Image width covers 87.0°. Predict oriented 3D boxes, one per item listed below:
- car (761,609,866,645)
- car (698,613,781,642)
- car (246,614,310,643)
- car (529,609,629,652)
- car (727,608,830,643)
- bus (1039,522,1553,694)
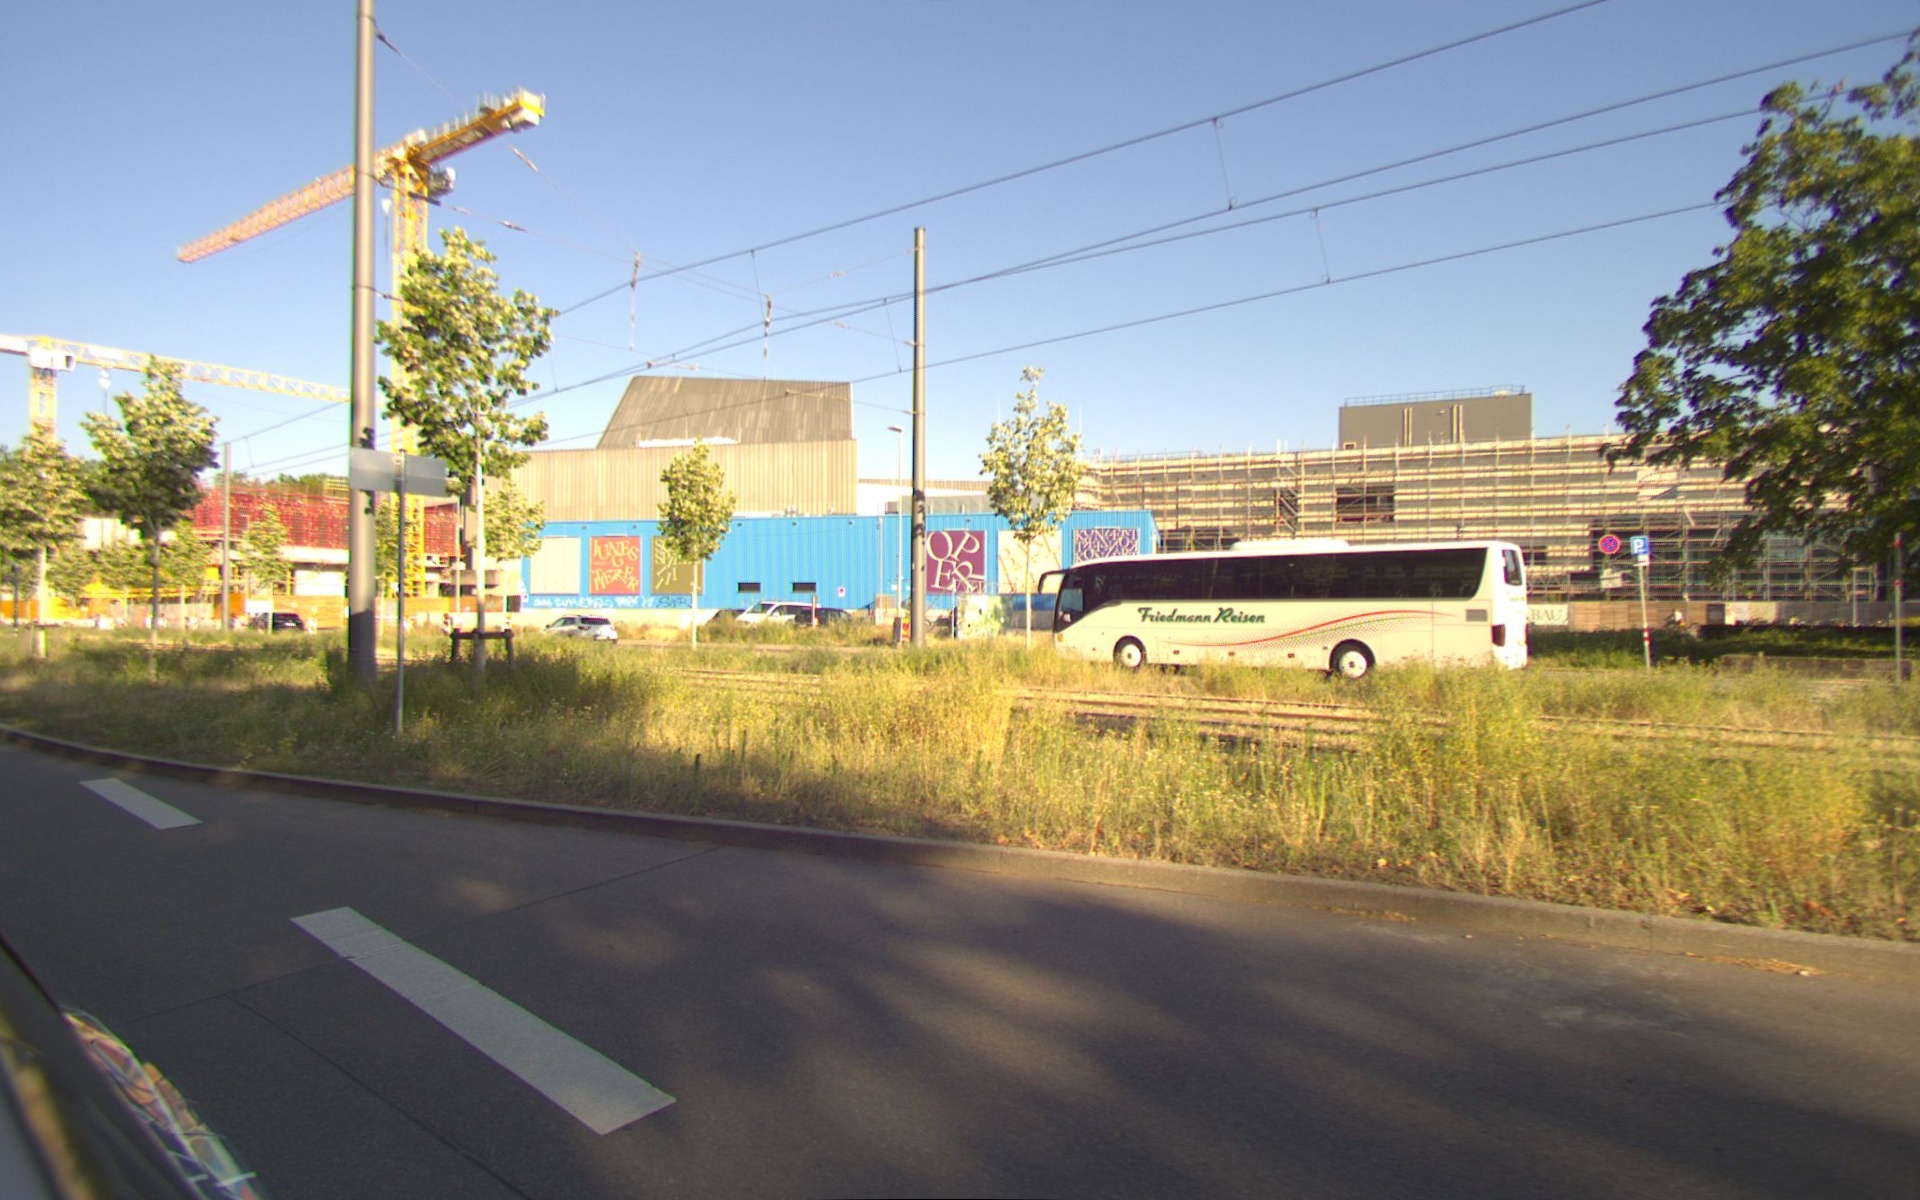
[{"bbox_3d":[-7.234,1.326,50.490,2.122,1.730,5.176,-1,-1,38],"label":"car"},{"bbox_3d":[-11.653,1.450,53.730,1.998,1.496,3.948,-1,-1,38],"label":"car"},{"bbox_3d":[-40.428,1.668,59.942,4.266,1.663,1.974,-1,-1,39],"label":"car"},{"bbox_3d":[-15.254,1.193,40.458,4.164,1.655,1.974,-1,-1,40],"label":"car"},{"bbox_3d":[-9.301,1.307,52.348,2.122,1.730,5.176,-1,-1,38],"label":"car"},{"bbox_3d":[8.025,0.269,26.550,12.688,3.622,2.770,-1,-1,40],"label":"bus"}]
